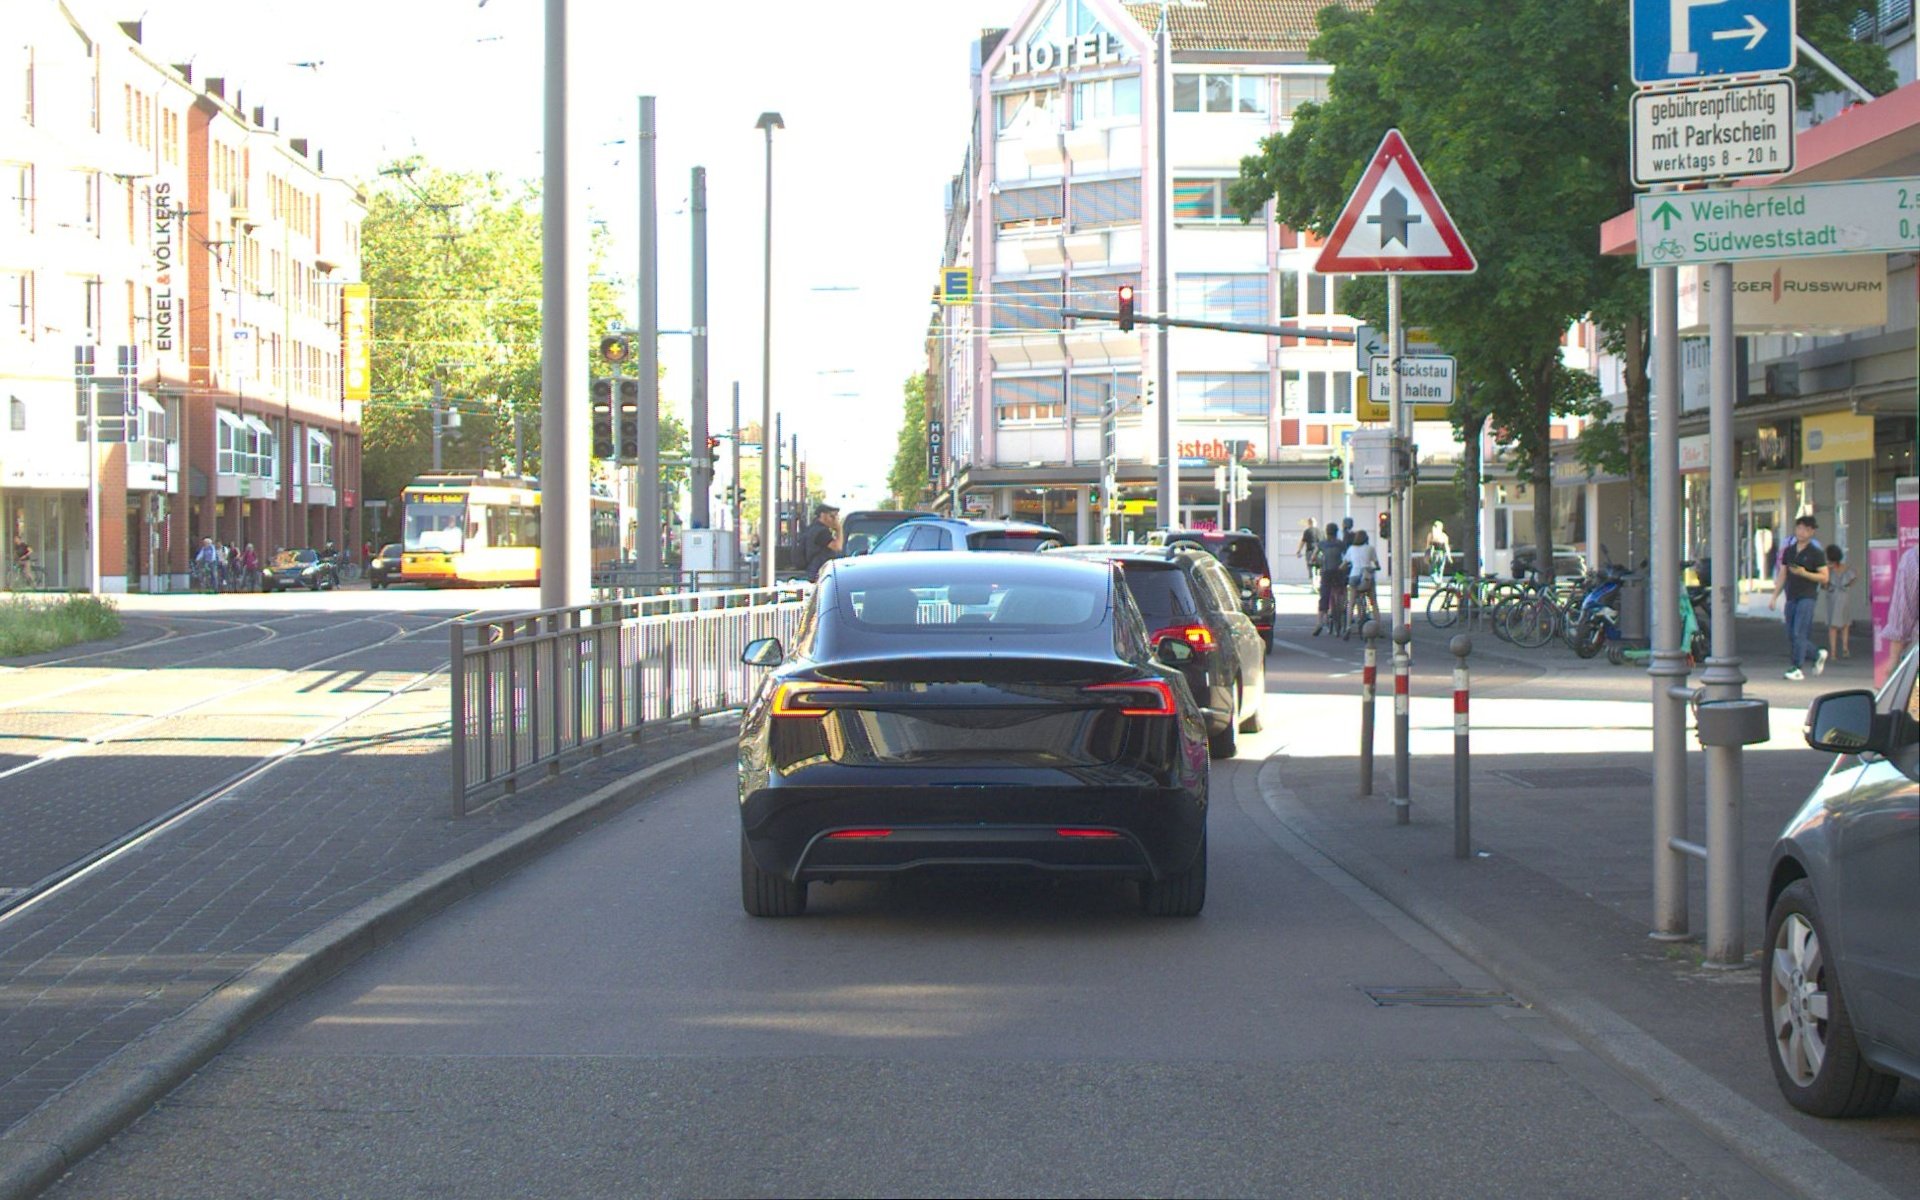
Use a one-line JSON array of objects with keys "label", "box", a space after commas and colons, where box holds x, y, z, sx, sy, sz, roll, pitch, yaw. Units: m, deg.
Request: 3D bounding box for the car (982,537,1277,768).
[{"label": "car", "box": [1.272, 0.299, 24.169, 1.654, 1.413, 3.999, 2, 2, 8]}]

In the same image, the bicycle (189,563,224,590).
[{"label": "bicycle", "box": [-24.630, -0.781, 112.410, 0.702, 0.852, 2.053, 0, 1, -1]}]

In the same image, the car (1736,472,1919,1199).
[{"label": "car", "box": [2.982, 0.518, 7.385, 1.745, 1.626, 3.649, -1, 1, -1]}]

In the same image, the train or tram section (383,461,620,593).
[{"label": "train or tram section", "box": [-13.837, -2.143, 105.498, 2.675, 3.703, 14.185, 2, 1, 11]}]

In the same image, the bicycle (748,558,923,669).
[{"label": "bicycle", "box": [-1.301, 0.136, 35.804, 1.727, 1.084, 0.678, 2, 1, -8]}]

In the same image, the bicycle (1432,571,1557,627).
[{"label": "bicycle", "box": [8.665, -0.014, 55.754, 1.924, 0.887, 0.526, 1, 0, 1]}]

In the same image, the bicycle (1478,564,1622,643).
[{"label": "bicycle", "box": [8.362, 0.051, 48.753, 1.924, 1.093, 0.555, 1, 0, 1]}]

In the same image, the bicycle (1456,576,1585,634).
[{"label": "bicycle", "box": [8.746, 0.074, 53.660, 1.924, 0.885, 0.526, 1, 0, 1]}]

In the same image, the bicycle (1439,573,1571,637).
[{"label": "bicycle", "box": [8.341, 0.072, 52.657, 1.924, 0.947, 0.526, 1, 0, 1]}]

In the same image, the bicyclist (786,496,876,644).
[{"label": "bicyclist", "box": [-1.347, -0.312, 35.770, 0.836, 1.494, 0.560, 2, 0, -8]}]

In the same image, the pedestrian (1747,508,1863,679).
[{"label": "pedestrian", "box": [8.766, -0.064, 35.664, 1.004, 1.736, 0.529, 2, 1, -26]}]

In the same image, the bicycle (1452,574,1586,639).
[{"label": "bicycle", "box": [8.389, 0.100, 51.642, 1.924, 0.947, 0.526, 1, 0, 1]}]

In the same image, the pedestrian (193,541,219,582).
[{"label": "pedestrian", "box": [-24.631, -1.270, 112.330, 0.711, 1.337, 0.666, 0, 1, -1]}]

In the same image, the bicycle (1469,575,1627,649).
[{"label": "bicycle", "box": [7.982, 0.157, 46.689, 2.051, 0.979, 0.483, 1, 0, 1]}]

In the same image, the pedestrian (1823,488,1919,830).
[{"label": "pedestrian", "box": [4.839, 0.294, 17.292, 0.818, 1.677, 0.714, 2, 1, 22]}]

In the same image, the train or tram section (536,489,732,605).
[{"label": "train or tram section", "box": [-11.172, -1.796, 120.029, 2.638, 3.706, 15.379, 2, 1, 10]}]

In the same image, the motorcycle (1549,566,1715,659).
[{"label": "motorcycle", "box": [8.707, 0.159, 44.584, 1.991, 1.124, 0.596, 2, 0, -1]}]

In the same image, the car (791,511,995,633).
[{"label": "car", "box": [-0.958, -0.400, 46.349, 1.824, 1.514, 4.219, 2, 1, -14]}]

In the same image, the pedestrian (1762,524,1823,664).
[{"label": "pedestrian", "box": [9.814, -0.077, 40.546, 0.595, 1.636, 0.466, -1, 0, 1]}]

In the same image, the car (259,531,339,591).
[{"label": "car", "box": [-22.498, -1.349, 117.147, 1.993, 2.007, 4.000, 0, 1, -1]}]

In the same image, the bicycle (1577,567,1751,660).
[{"label": "bicycle", "box": [8.702, 0.167, 42.524, 2.051, 1.118, 0.483, 1, 0, 1]}]

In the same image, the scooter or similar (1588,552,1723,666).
[{"label": "scooter or similar", "box": [8.121, 0.104, 40.144, 1.408, 1.312, 0.696, 0, -1, -26]}]

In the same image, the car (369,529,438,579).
[{"label": "car", "box": [-19.426, -1.595, 120.192, 1.751, 1.645, 4.000, 2, 1, -1]}]

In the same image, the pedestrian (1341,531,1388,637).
[{"label": "pedestrian", "box": [6.197, -0.246, 52.674, 0.629, 1.608, 0.643, 1, 1, 3]}]

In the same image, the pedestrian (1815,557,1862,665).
[{"label": "pedestrian", "box": [10.405, 0.126, 40.722, 0.420, 1.276, 0.531, -1, 0, 1]}]

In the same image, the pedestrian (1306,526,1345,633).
[{"label": "pedestrian", "box": [5.816, -0.329, 54.732, 0.562, 1.677, 0.750, 1, 1, 4]}]

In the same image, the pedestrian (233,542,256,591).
[{"label": "pedestrian", "box": [-24.754, -1.165, 118.894, 0.711, 1.661, 0.564, 2, 0, -10]}]

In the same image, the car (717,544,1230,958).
[{"label": "car", "box": [-0.019, 0.534, 14.510, 1.849, 1.479, 3.787, 1, 1, -2]}]

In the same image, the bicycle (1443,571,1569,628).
[{"label": "bicycle", "box": [8.686, -0.007, 54.728, 1.924, 0.887, 0.526, 1, 0, 1]}]

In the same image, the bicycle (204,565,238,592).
[{"label": "bicycle", "box": [-24.697, -0.721, 114.926, 0.702, 0.852, 2.053, 0, 1, -1]}]

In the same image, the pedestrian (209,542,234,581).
[{"label": "pedestrian", "box": [-24.695, -1.292, 114.988, 0.696, 1.303, 0.564, 0, 1, -2]}]

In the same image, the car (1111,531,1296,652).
[{"label": "car", "box": [3.251, -0.137, 46.542, 1.824, 1.514, 3.650, 2, 1, -6]}]

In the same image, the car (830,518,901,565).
[{"label": "car", "box": [-3.047, -1.891, 111.612, 1.994, 1.415, 4.000, 2, 1, 2]}]

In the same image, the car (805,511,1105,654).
[{"label": "car", "box": [-0.123, -0.235, 39.879, 1.783, 1.514, 4.219, 2, 1, -26]}]
